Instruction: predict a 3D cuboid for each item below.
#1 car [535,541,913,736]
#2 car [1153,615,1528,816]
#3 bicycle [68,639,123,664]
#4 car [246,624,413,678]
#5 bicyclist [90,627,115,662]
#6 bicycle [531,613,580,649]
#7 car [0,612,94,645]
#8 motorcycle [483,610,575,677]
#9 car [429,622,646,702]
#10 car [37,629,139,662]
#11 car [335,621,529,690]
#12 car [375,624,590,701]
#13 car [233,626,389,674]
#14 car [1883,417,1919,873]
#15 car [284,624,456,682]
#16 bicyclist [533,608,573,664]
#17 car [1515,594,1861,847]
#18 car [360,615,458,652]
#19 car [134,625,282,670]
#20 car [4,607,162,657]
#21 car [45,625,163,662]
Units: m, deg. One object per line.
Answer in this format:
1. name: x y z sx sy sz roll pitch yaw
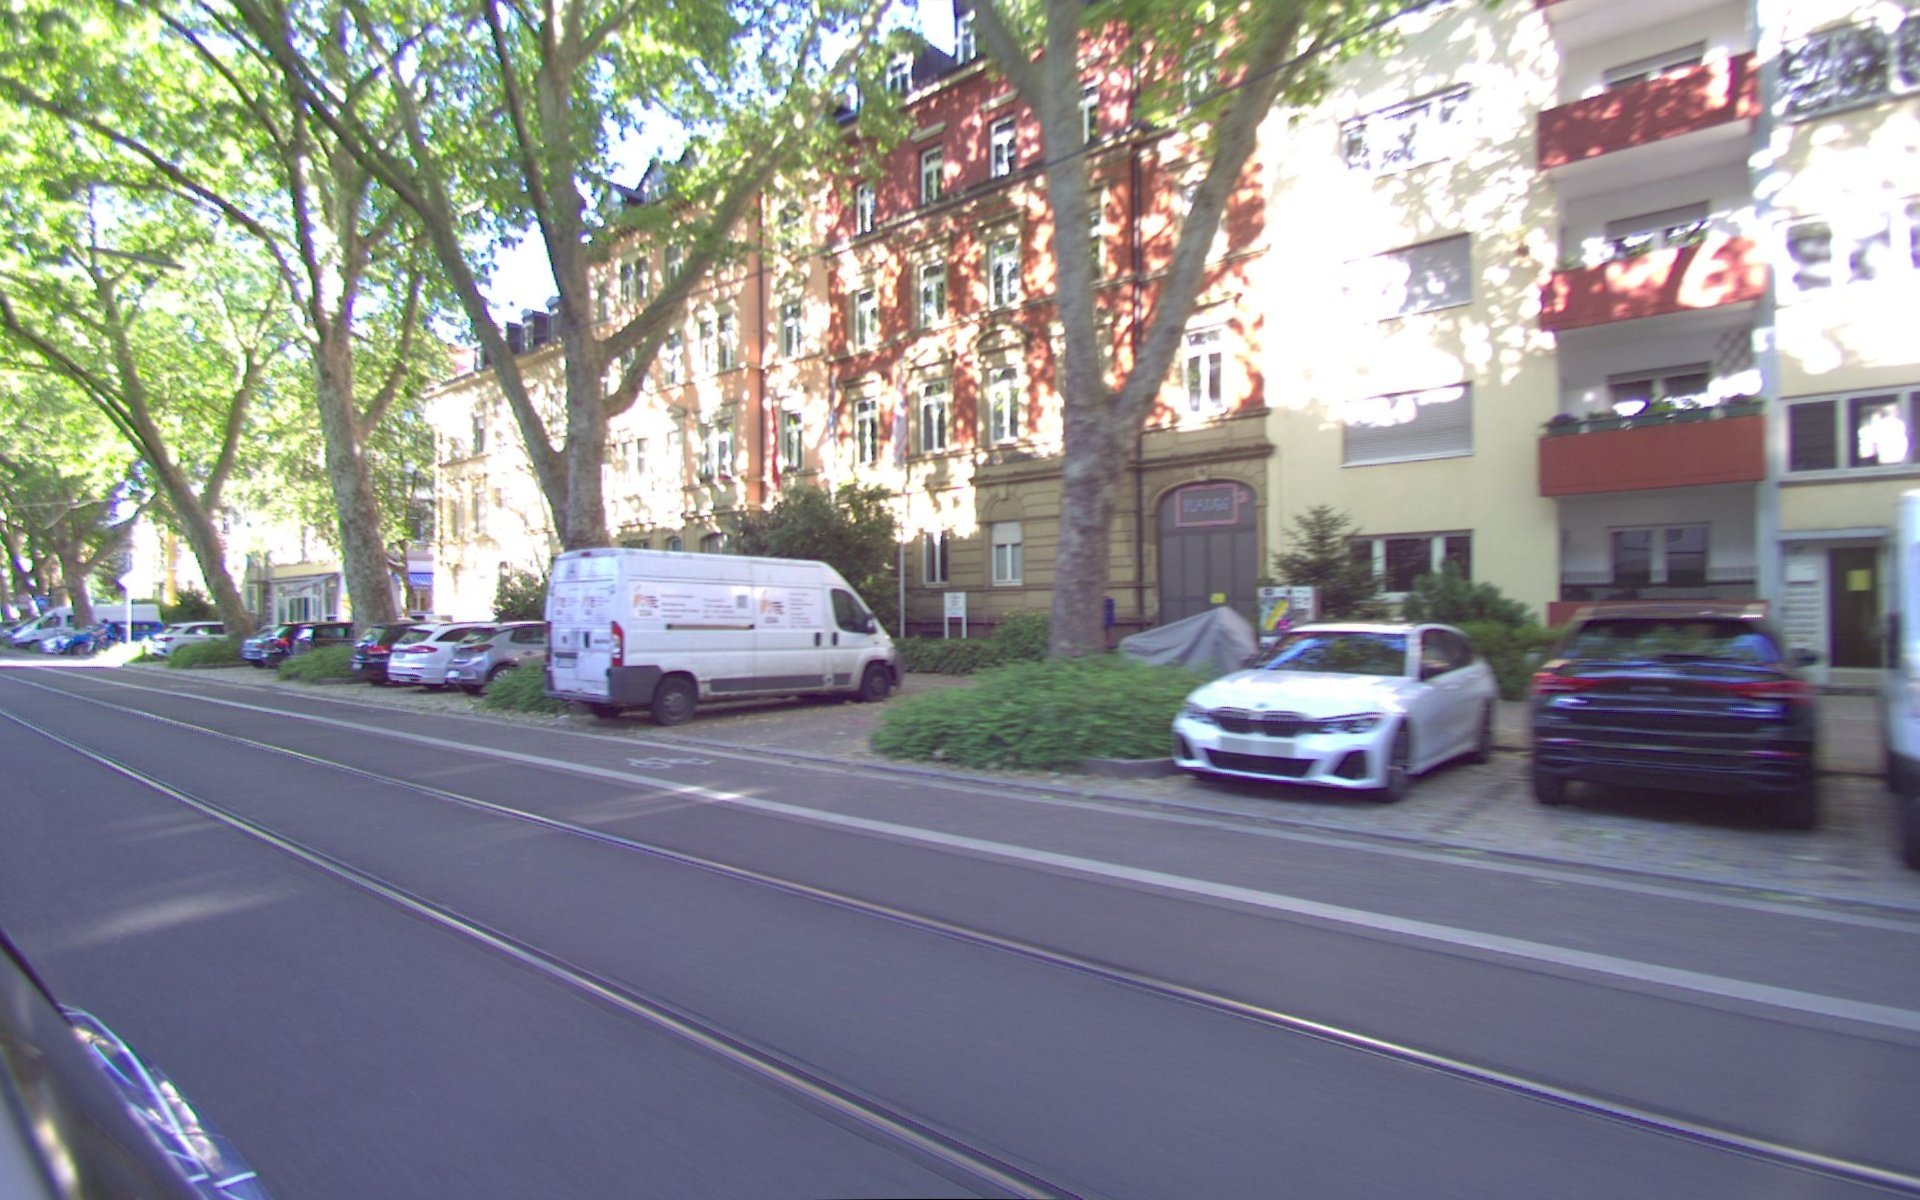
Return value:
1. car: -3.506 0.515 16.174 2.161 2.555 5.681 -2 -1 41
2. car: 3.782 0.872 9.571 1.932 1.395 4.364 -1 -1 41
3. bicycle: -38.540 2.277 45.146 1.847 1.039 0.629 0 -2 -41
4. car: -19.023 1.485 30.710 1.764 1.471 3.957 -1 -1 32
5. bicyclist: -38.400 1.968 45.329 0.855 1.538 0.737 0 -2 -41
6. bicycle: -13.061 0.993 32.649 1.779 1.147 0.734 -2 -1 41
7. car: -60.512 1.869 67.078 1.923 1.922 4.575 -2 0 44
8. motorcycle: -11.502 1.112 26.944 3.010 1.643 1.041 -1 1 41
9. car: -8.600 1.199 20.809 1.704 1.443 3.767 -2 -1 43
10. car: -44.872 2.310 52.123 1.745 1.529 3.733 -1 -1 38
11. car: -12.524 1.267 24.161 1.704 1.471 3.753 -2 -1 42
12. car: -10.500 1.302 22.449 1.830 1.507 3.945 -2 -1 41
13. car: -20.856 1.575 32.673 1.602 1.379 3.952 -1 -1 35
14. car: 7.442 0.305 6.504 2.056 2.496 5.304 -2 -1 41
15. car: -16.825 1.459 28.975 1.704 1.471 3.943 -2 -1 43
16. bicyclist: -13.153 1.141 32.702 1.048 1.776 0.822 -2 -1 41
17. car: 6.204 0.756 8.465 1.871 1.550 4.325 -1 -1 41
18. car: -31.013 1.823 57.004 4.516 1.894 2.132 0 1 -41
19. car: -26.827 1.643 36.172 1.877 1.471 3.946 -1 -1 40
20. car: -49.680 1.769 57.481 1.999 2.426 6.533 -2 0 41
21. car: -42.927 2.152 50.839 1.814 1.725 4.278 -1 -1 38
